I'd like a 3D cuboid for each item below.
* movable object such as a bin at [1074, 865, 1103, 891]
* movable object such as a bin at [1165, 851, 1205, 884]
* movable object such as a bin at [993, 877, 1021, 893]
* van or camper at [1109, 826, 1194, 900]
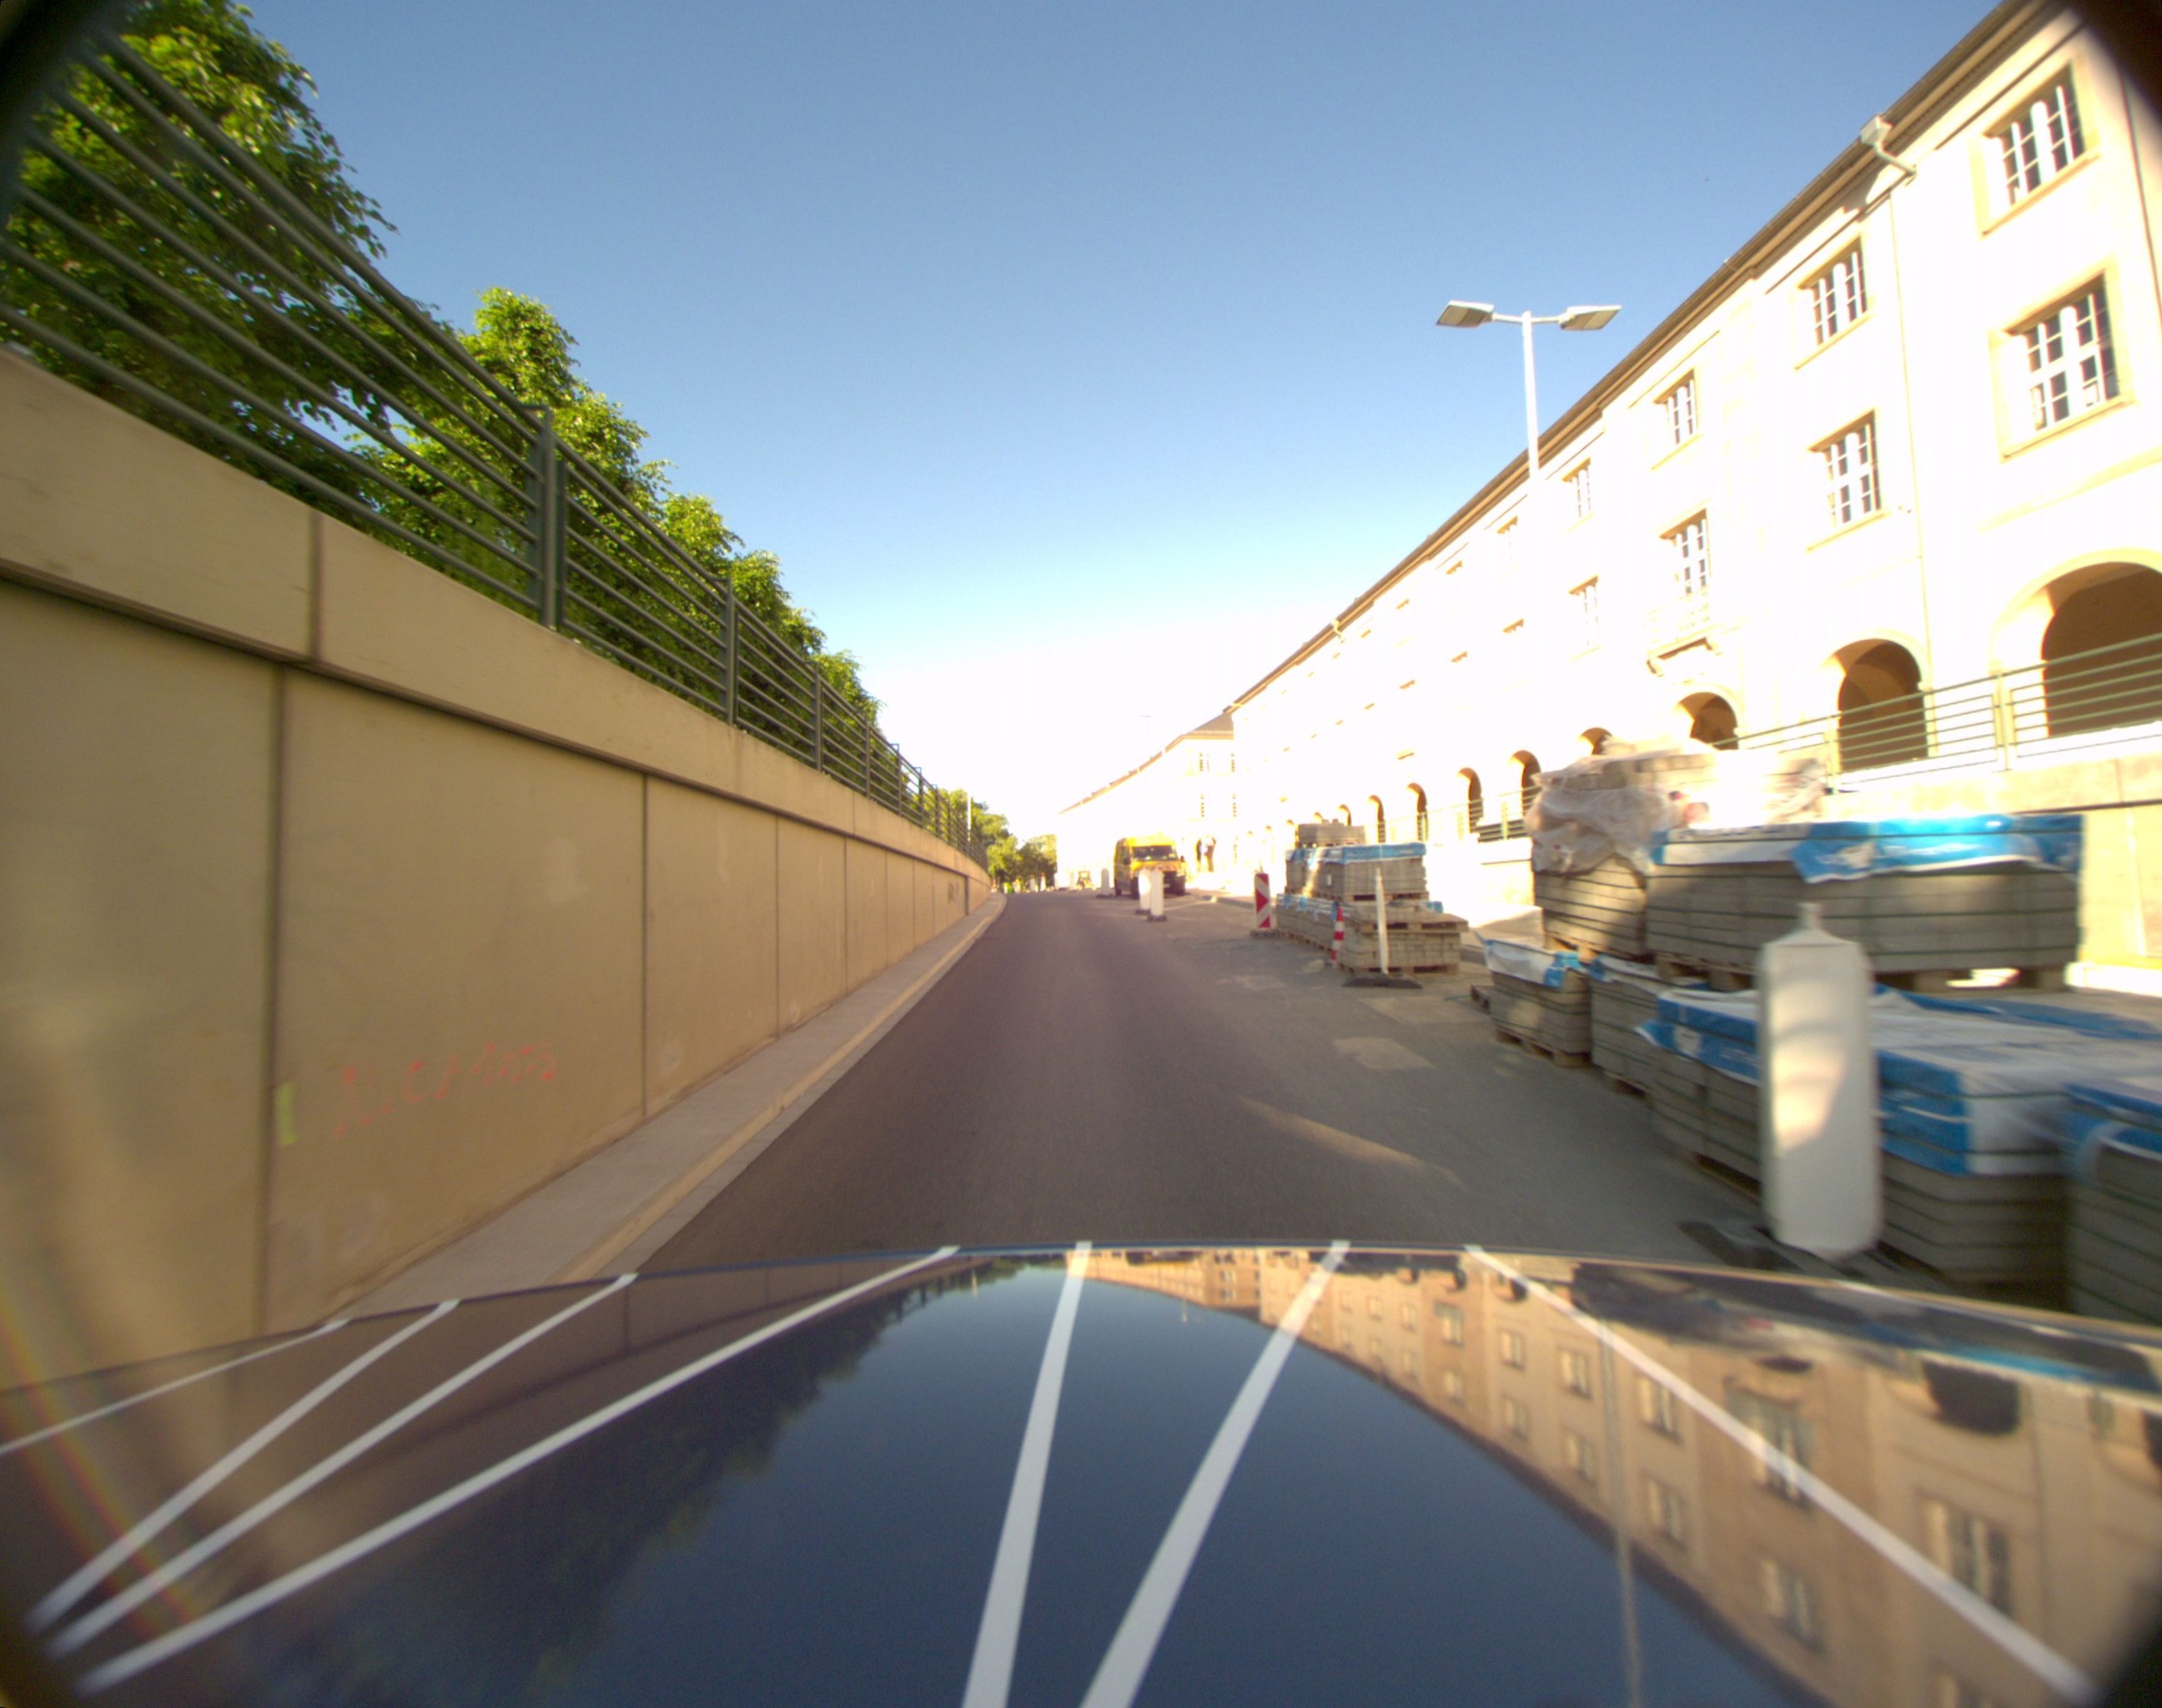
[{"bbox_3d":[0.701,2.408,75.517,1.797,2.437,4.534,0,-3,-14],"label":"movable object such as a bin"},{"bbox_3d":[7.945,1.087,58.438,2.106,2.380,4.307,0,-2,-7],"label":"movable object such as a bin"},{"bbox_3d":[-9.803,4.153,100.491,3.247,2.063,2.107,1,-3,-24],"label":"movable object such as a bin"},{"bbox_3d":[2.717,0.384,31.330,2.200,2.597,6.822,-4,0,-5],"label":"van or camper"}]
